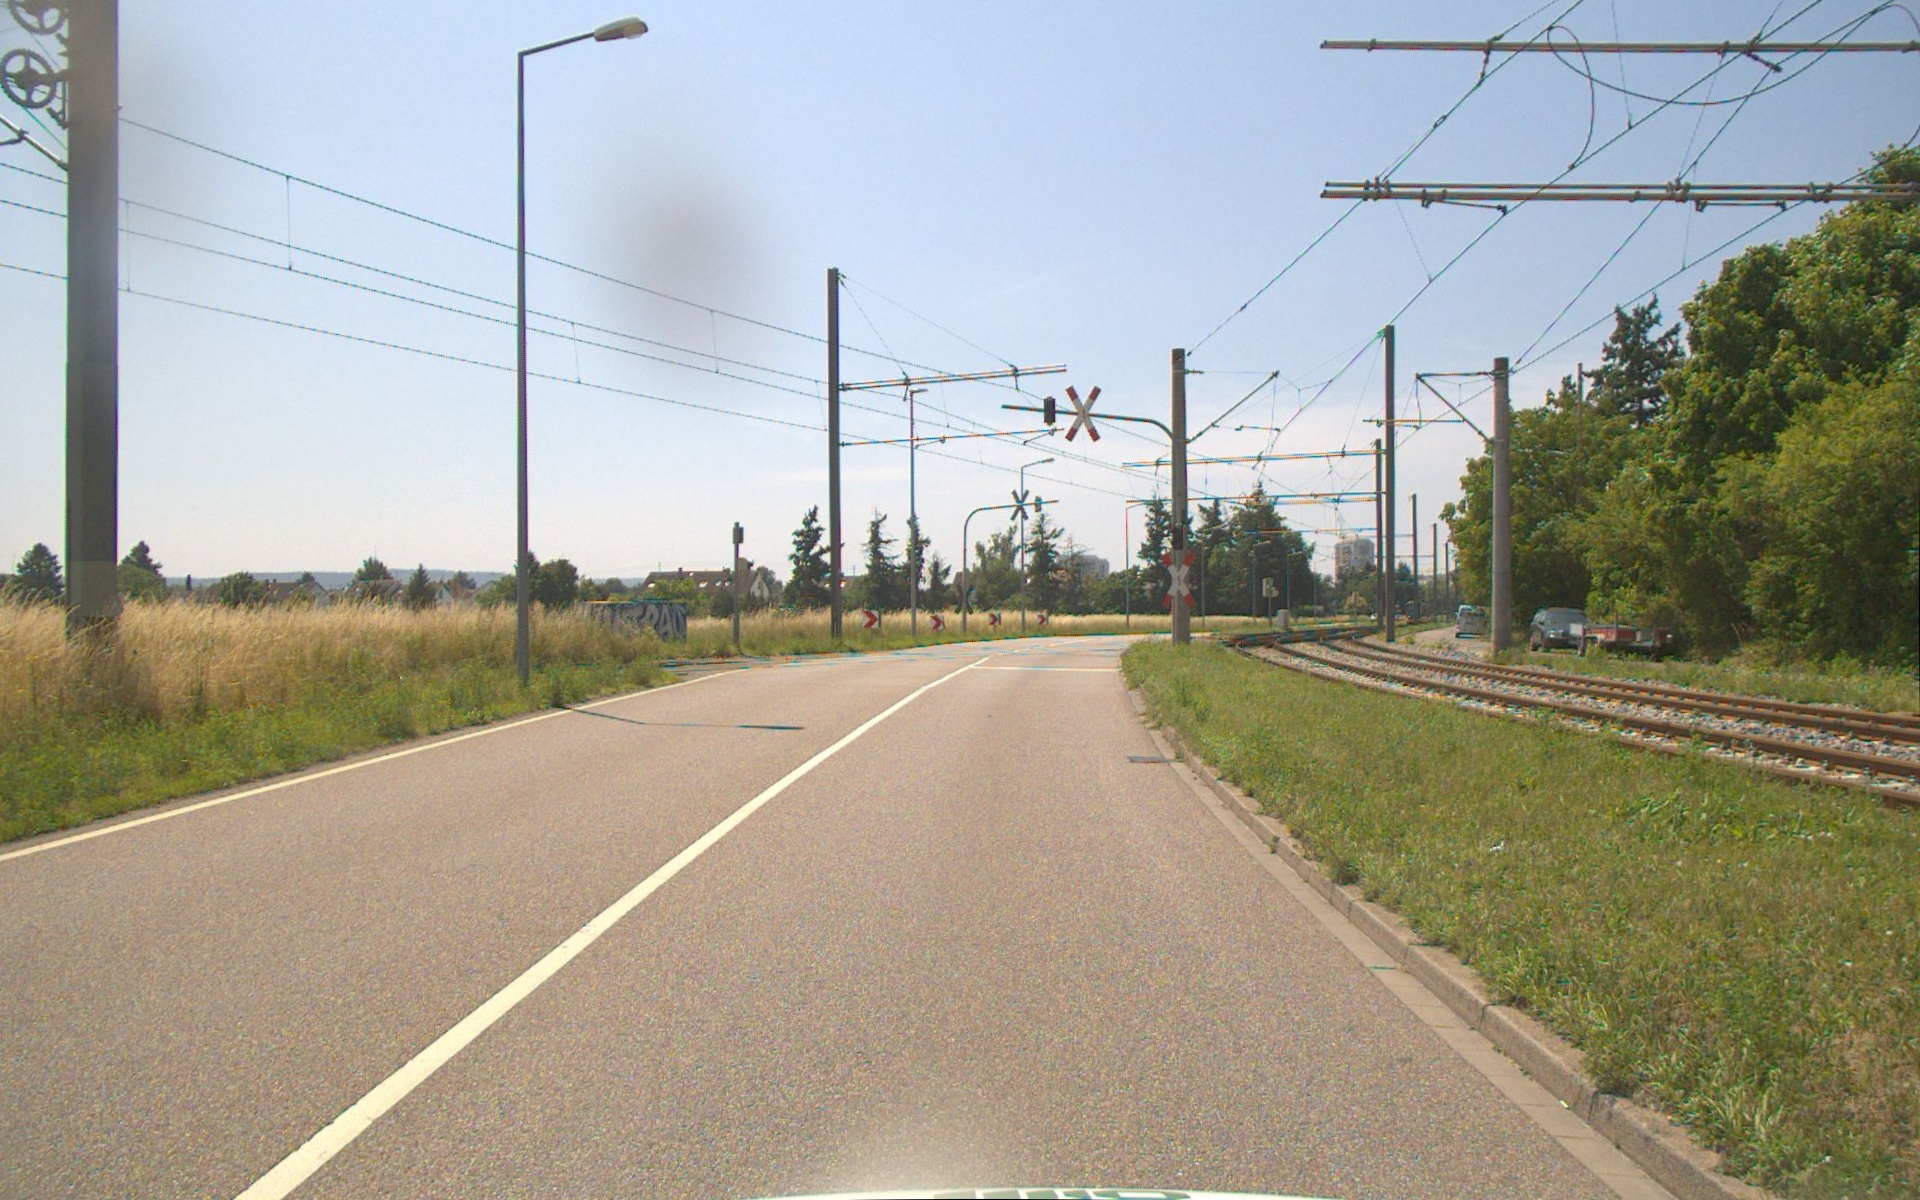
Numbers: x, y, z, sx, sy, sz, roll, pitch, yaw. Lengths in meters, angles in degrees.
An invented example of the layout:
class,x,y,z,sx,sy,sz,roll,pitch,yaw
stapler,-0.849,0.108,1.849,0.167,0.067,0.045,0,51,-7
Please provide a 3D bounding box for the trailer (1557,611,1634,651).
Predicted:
class,x,y,z,sx,sy,sz,roll,pitch,yaw
trailer,18.683,0.885,48.770,1.389,1.012,4.004,2,1,10

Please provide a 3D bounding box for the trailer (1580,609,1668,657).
class,x,y,z,sx,sy,sz,roll,pitch,yaw
trailer,17.932,0.900,44.815,1.430,1.244,4.003,-1,-1,11

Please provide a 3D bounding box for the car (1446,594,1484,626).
class,x,y,z,sx,sy,sz,roll,pitch,yaw
car,31.272,0.642,102.350,1.994,1.915,5.069,-1,-1,20

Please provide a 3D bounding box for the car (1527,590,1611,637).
class,x,y,z,sx,sy,sz,roll,pitch,yaw
car,19.825,0.467,54.033,1.758,1.451,4.744,-1,-1,10
